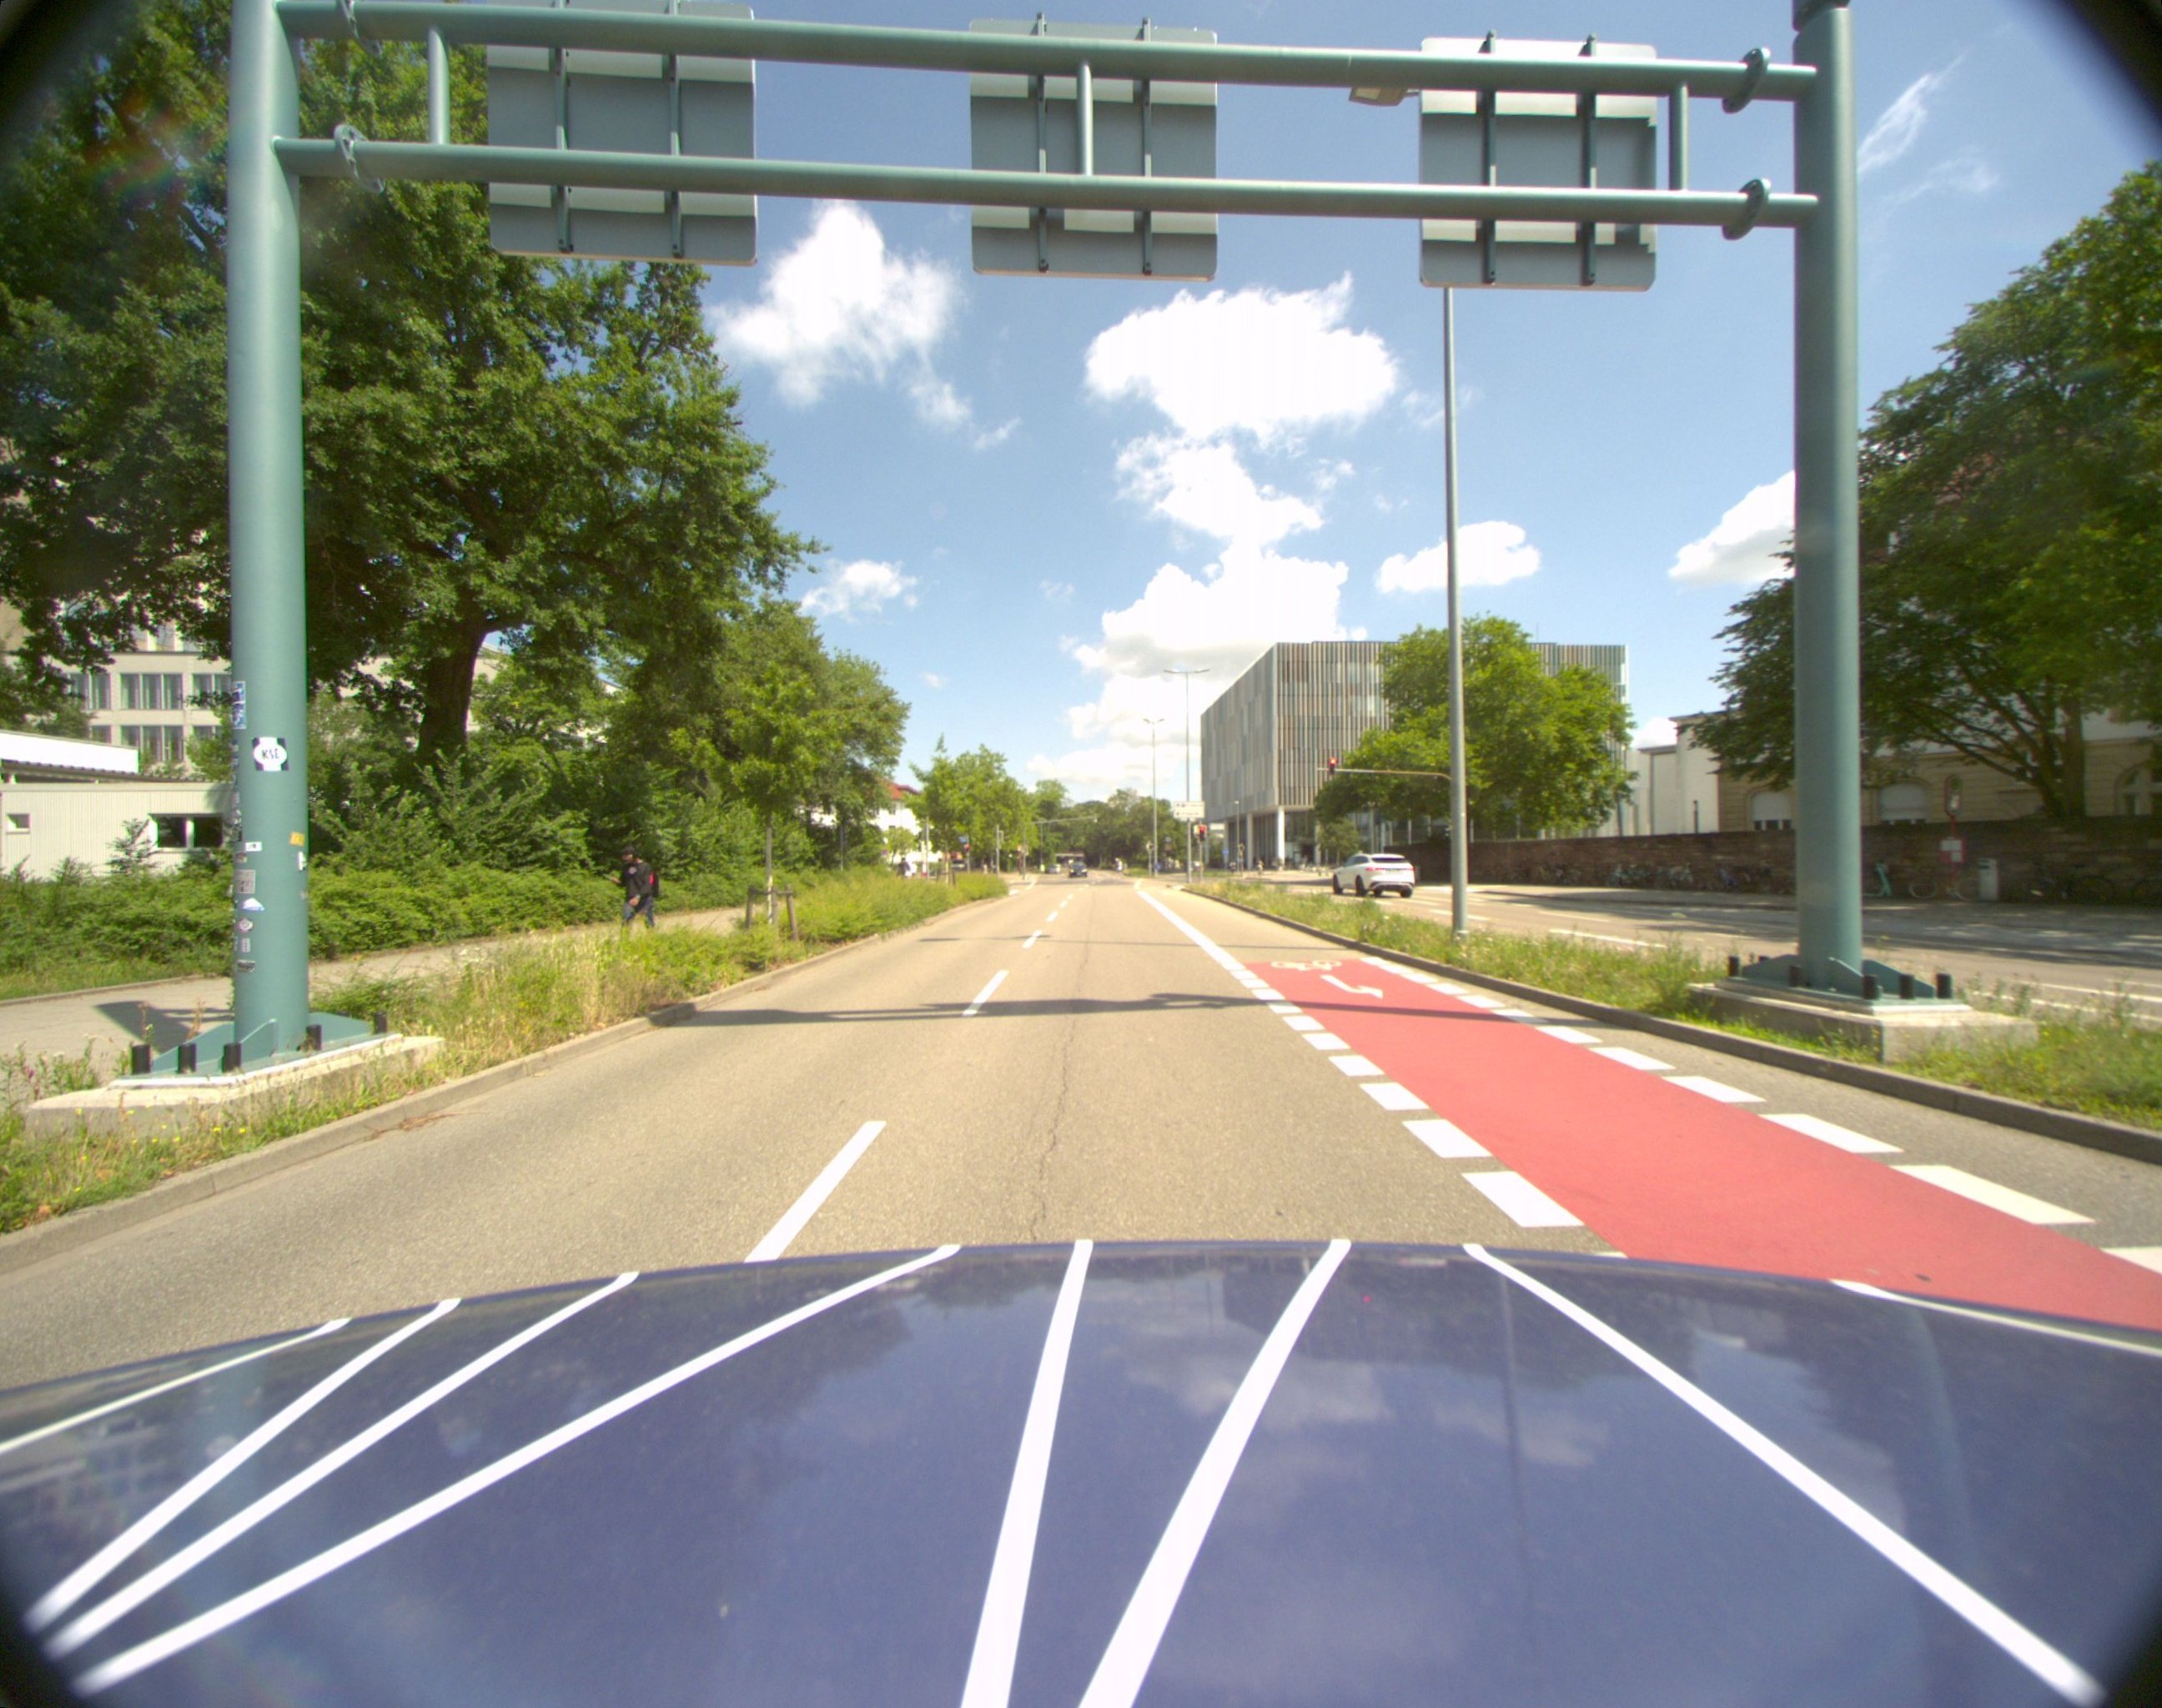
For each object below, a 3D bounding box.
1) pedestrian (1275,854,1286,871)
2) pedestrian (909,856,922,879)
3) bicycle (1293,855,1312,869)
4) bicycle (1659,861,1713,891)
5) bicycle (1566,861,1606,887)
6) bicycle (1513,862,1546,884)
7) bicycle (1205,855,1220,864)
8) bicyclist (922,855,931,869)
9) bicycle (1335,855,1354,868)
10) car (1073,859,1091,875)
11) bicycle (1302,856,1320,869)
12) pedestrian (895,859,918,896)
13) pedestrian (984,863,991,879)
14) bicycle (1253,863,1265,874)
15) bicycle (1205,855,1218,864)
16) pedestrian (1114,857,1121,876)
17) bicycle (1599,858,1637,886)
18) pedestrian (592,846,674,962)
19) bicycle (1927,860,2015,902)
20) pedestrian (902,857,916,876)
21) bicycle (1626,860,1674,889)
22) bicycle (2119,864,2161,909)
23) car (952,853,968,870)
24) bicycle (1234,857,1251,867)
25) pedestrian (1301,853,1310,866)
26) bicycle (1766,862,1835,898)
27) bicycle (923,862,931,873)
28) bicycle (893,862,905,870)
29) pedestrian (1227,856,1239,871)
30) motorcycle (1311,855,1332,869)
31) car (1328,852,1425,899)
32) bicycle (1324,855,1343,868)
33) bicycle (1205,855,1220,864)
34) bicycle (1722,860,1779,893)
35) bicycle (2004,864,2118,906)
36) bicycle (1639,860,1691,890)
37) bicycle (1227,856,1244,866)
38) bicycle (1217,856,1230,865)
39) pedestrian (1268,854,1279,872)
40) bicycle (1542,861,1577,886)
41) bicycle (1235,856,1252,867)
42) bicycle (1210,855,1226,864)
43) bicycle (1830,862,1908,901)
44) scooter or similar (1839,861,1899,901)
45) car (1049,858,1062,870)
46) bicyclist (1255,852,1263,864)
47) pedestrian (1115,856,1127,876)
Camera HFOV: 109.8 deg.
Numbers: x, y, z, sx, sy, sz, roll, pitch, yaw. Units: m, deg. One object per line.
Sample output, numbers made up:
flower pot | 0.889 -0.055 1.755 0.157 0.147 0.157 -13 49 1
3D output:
pedestrian | 22.312 0.940 84.925 0.969 1.914 0.880 -1 1 27
pedestrian | -13.731 1.130 62.906 0.878 1.861 0.971 -1 0 -4
bicycle | 26.582 0.923 91.063 0.808 1.634 3.422 -1 0 42
bicycle | 23.277 0.830 29.261 0.403 1.145 1.590 -1 0 -32
bicycle | 22.947 0.882 34.546 0.623 1.145 1.593 -1 0 -8
bicycle | 22.528 0.951 38.166 0.573 1.092 1.593 -1 0 -8
bicycle | 23.002 0.967 133.170 2.511 1.486 0.621 -1 0 1
bicyclist | -17.192 0.885 84.701 0.972 1.436 1.076 -1 0 -12
bicycle | 30.247 0.858 87.267 0.997 1.543 3.422 -1 0 37
car | 0.061 1.396 82.439 1.846 1.593 3.999 -1 0 -2
bicycle | 27.348 1.003 90.329 2.693 1.485 0.930 -1 0 -44
pedestrian | -8.241 1.092 35.896 0.815 1.711 0.929 -1 1 2
pedestrian | -8.818 1.556 71.634 0.591 1.495 0.416 -1 1 -18
bicycle | 17.570 1.433 75.015 0.646 0.992 2.167 -1 0 26
bicycle | 23.211 0.946 135.156 2.302 1.486 0.657 -1 0 1
pedestrian | 3.498 1.186 72.496 0.646 1.815 0.689 -1 0 1
bicycle | 23.206 0.766 32.850 0.413 1.145 1.593 -1 0 -5
pedestrian | -6.891 0.746 11.728 0.718 1.711 0.837 -1 1 2
bicycle | 24.876 0.736 21.274 0.433 1.136 1.593 -1 0 -12
pedestrian | -17.289 1.254 76.594 1.030 1.914 0.973 -1 0 12
bicycle | 23.320 0.823 31.159 0.403 1.145 1.591 -1 0 -22
bicycle | 25.536 0.762 17.450 0.545 1.041 1.948 -1 0 -11
car | -15.705 0.976 98.764 2.000 2.042 4.226 -1 0 -8
bicycle | 23.979 1.136 112.677 2.451 1.486 0.621 -1 0 1
pedestrian | 29.448 0.690 99.818 1.012 1.697 1.212 -1 0 22
bicycle | 24.019 0.854 25.394 0.534 1.145 1.591 -1 0 -21
bicycle | -17.211 1.482 84.817 0.885 1.244 2.163 -1 0 -12
bicycle | -23.585 1.568 98.510 1.428 0.945 0.352 -1 0 -5
pedestrian | 16.416 1.054 82.276 0.972 1.619 0.878 -1 0 -11
motorcycle | 28.311 0.893 89.375 3.305 1.630 0.969 -1 0 -45
car | 11.463 0.781 29.835 2.076 1.657 4.776 -1 0 2
bicycle | 29.428 0.859 88.408 1.049 1.543 3.422 -1 0 37
bicycle | 23.113 0.958 133.870 2.511 1.486 0.621 -1 0 1
bicycle | 23.837 0.790 27.078 0.403 1.145 1.593 -1 0 -11
bicycle | 25.172 0.776 19.570 0.482 1.002 1.800 -1 0 -8
bicycle | 23.234 0.821 30.271 0.403 1.145 1.590 -1 0 -32
bicycle | 23.685 1.106 116.365 2.511 1.486 0.621 -1 0 1
bicycle | 23.625 1.024 125.798 2.071 1.486 0.621 -1 0 1
pedestrian | 20.923 0.959 82.451 0.969 1.914 0.880 -1 1 30
bicycle | 22.773 0.914 36.169 0.500 1.145 1.593 -1 0 -8
bicycle | 24.267 1.122 113.682 2.509 1.486 0.730 -1 0 10
bicycle | 23.308 0.995 129.475 2.511 1.486 0.621 -1 0 1
bicycle | 24.495 0.838 23.653 0.534 1.145 1.591 -1 0 -21
scooter or similar | 23.834 0.801 22.999 0.433 1.145 1.191 -1 0 -20
car | -3.816 1.521 113.786 1.913 1.772 3.999 -1 0 -3
bicyclist | 17.597 0.401 75.098 0.617 1.219 0.835 -1 0 24
pedestrian | 3.754 1.123 71.490 1.108 1.914 0.972 -1 0 1
